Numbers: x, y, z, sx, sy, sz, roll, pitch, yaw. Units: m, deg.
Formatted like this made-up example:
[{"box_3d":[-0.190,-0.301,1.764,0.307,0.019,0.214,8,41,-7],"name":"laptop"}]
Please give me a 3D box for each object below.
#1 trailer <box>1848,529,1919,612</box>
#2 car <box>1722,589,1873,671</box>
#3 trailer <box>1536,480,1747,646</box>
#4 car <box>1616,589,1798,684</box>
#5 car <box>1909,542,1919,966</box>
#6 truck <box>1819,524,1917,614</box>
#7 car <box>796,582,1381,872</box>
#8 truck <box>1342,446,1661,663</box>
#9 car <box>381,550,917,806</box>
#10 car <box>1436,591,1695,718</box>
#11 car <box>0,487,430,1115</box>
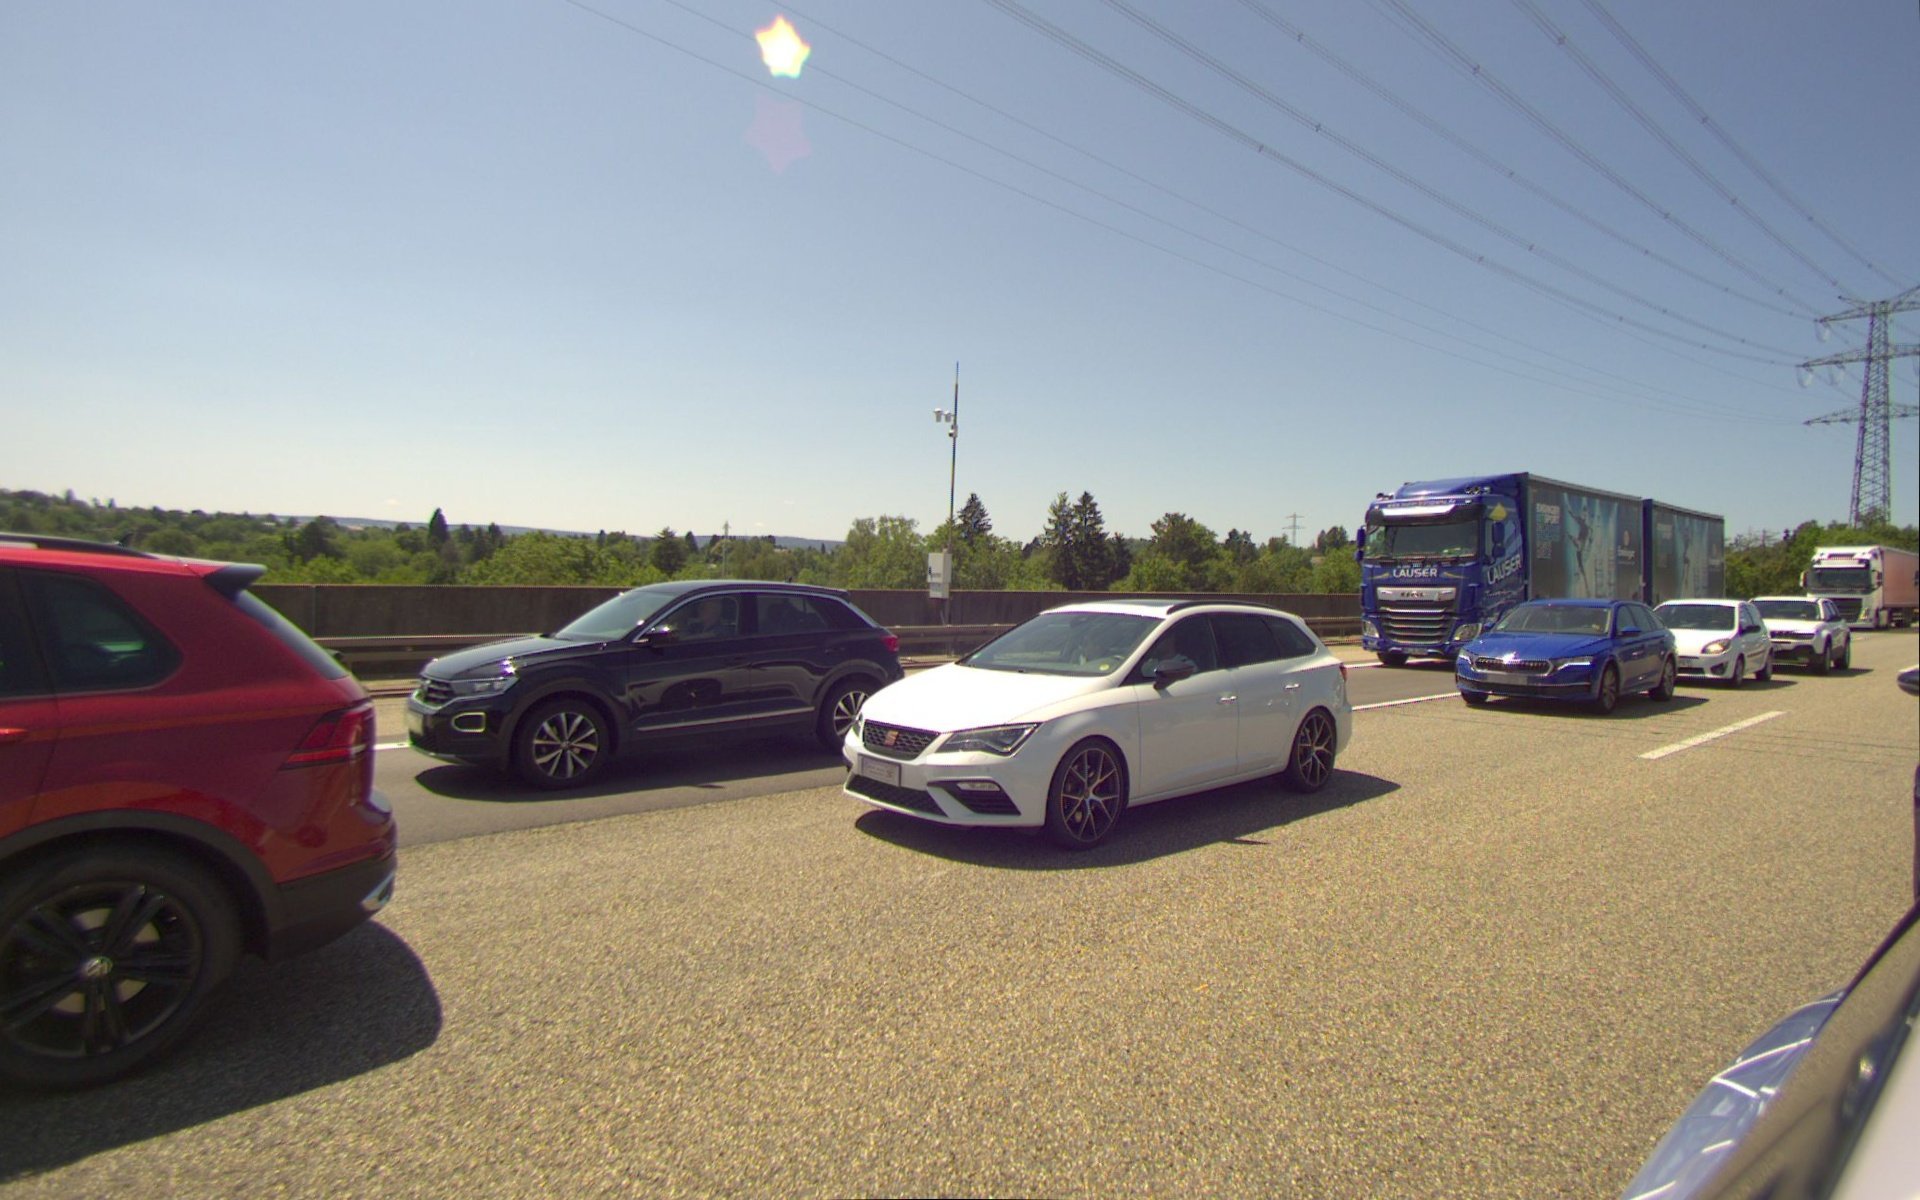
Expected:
[{"box_3d":[50.607,-1.525,54.817,8.927,4.170,2.606,-1,0,-41],"name":"trailer"},{"box_3d":[17.340,0.538,20.898,4.071,1.529,1.712,-1,0,-40],"name":"car"},{"box_3d":[19.781,-0.979,29.115,8.485,4.141,2.833,-1,0,-40],"name":"trailer"},{"box_3d":[13.291,0.558,17.928,4.071,1.470,1.712,-1,0,-40],"name":"car"},{"box_3d":[5.833,0.600,4.685,3.863,1.700,1.711,-1,0,-41],"name":"car"},{"box_3d":[44.207,-1.437,49.175,8.121,4.038,2.606,-1,0,-41],"name":"truck"},{"box_3d":[1.149,0.651,7.230,4.352,1.470,1.711,0,0,-41],"name":"car"},{"box_3d":[12.682,-0.901,23.057,10.210,3.999,2.857,-1,0,-40],"name":"truck"},{"box_3d":[-2.469,0.488,8.629,4.047,1.675,1.711,-1,0,-42],"name":"car"},{"box_3d":[8.459,0.622,13.965,4.483,1.470,1.712,-1,0,-40],"name":"car"},{"box_3d":[-3.943,0.556,2.710,4.210,1.700,1.711,-1,0,-41],"name":"car"}]
